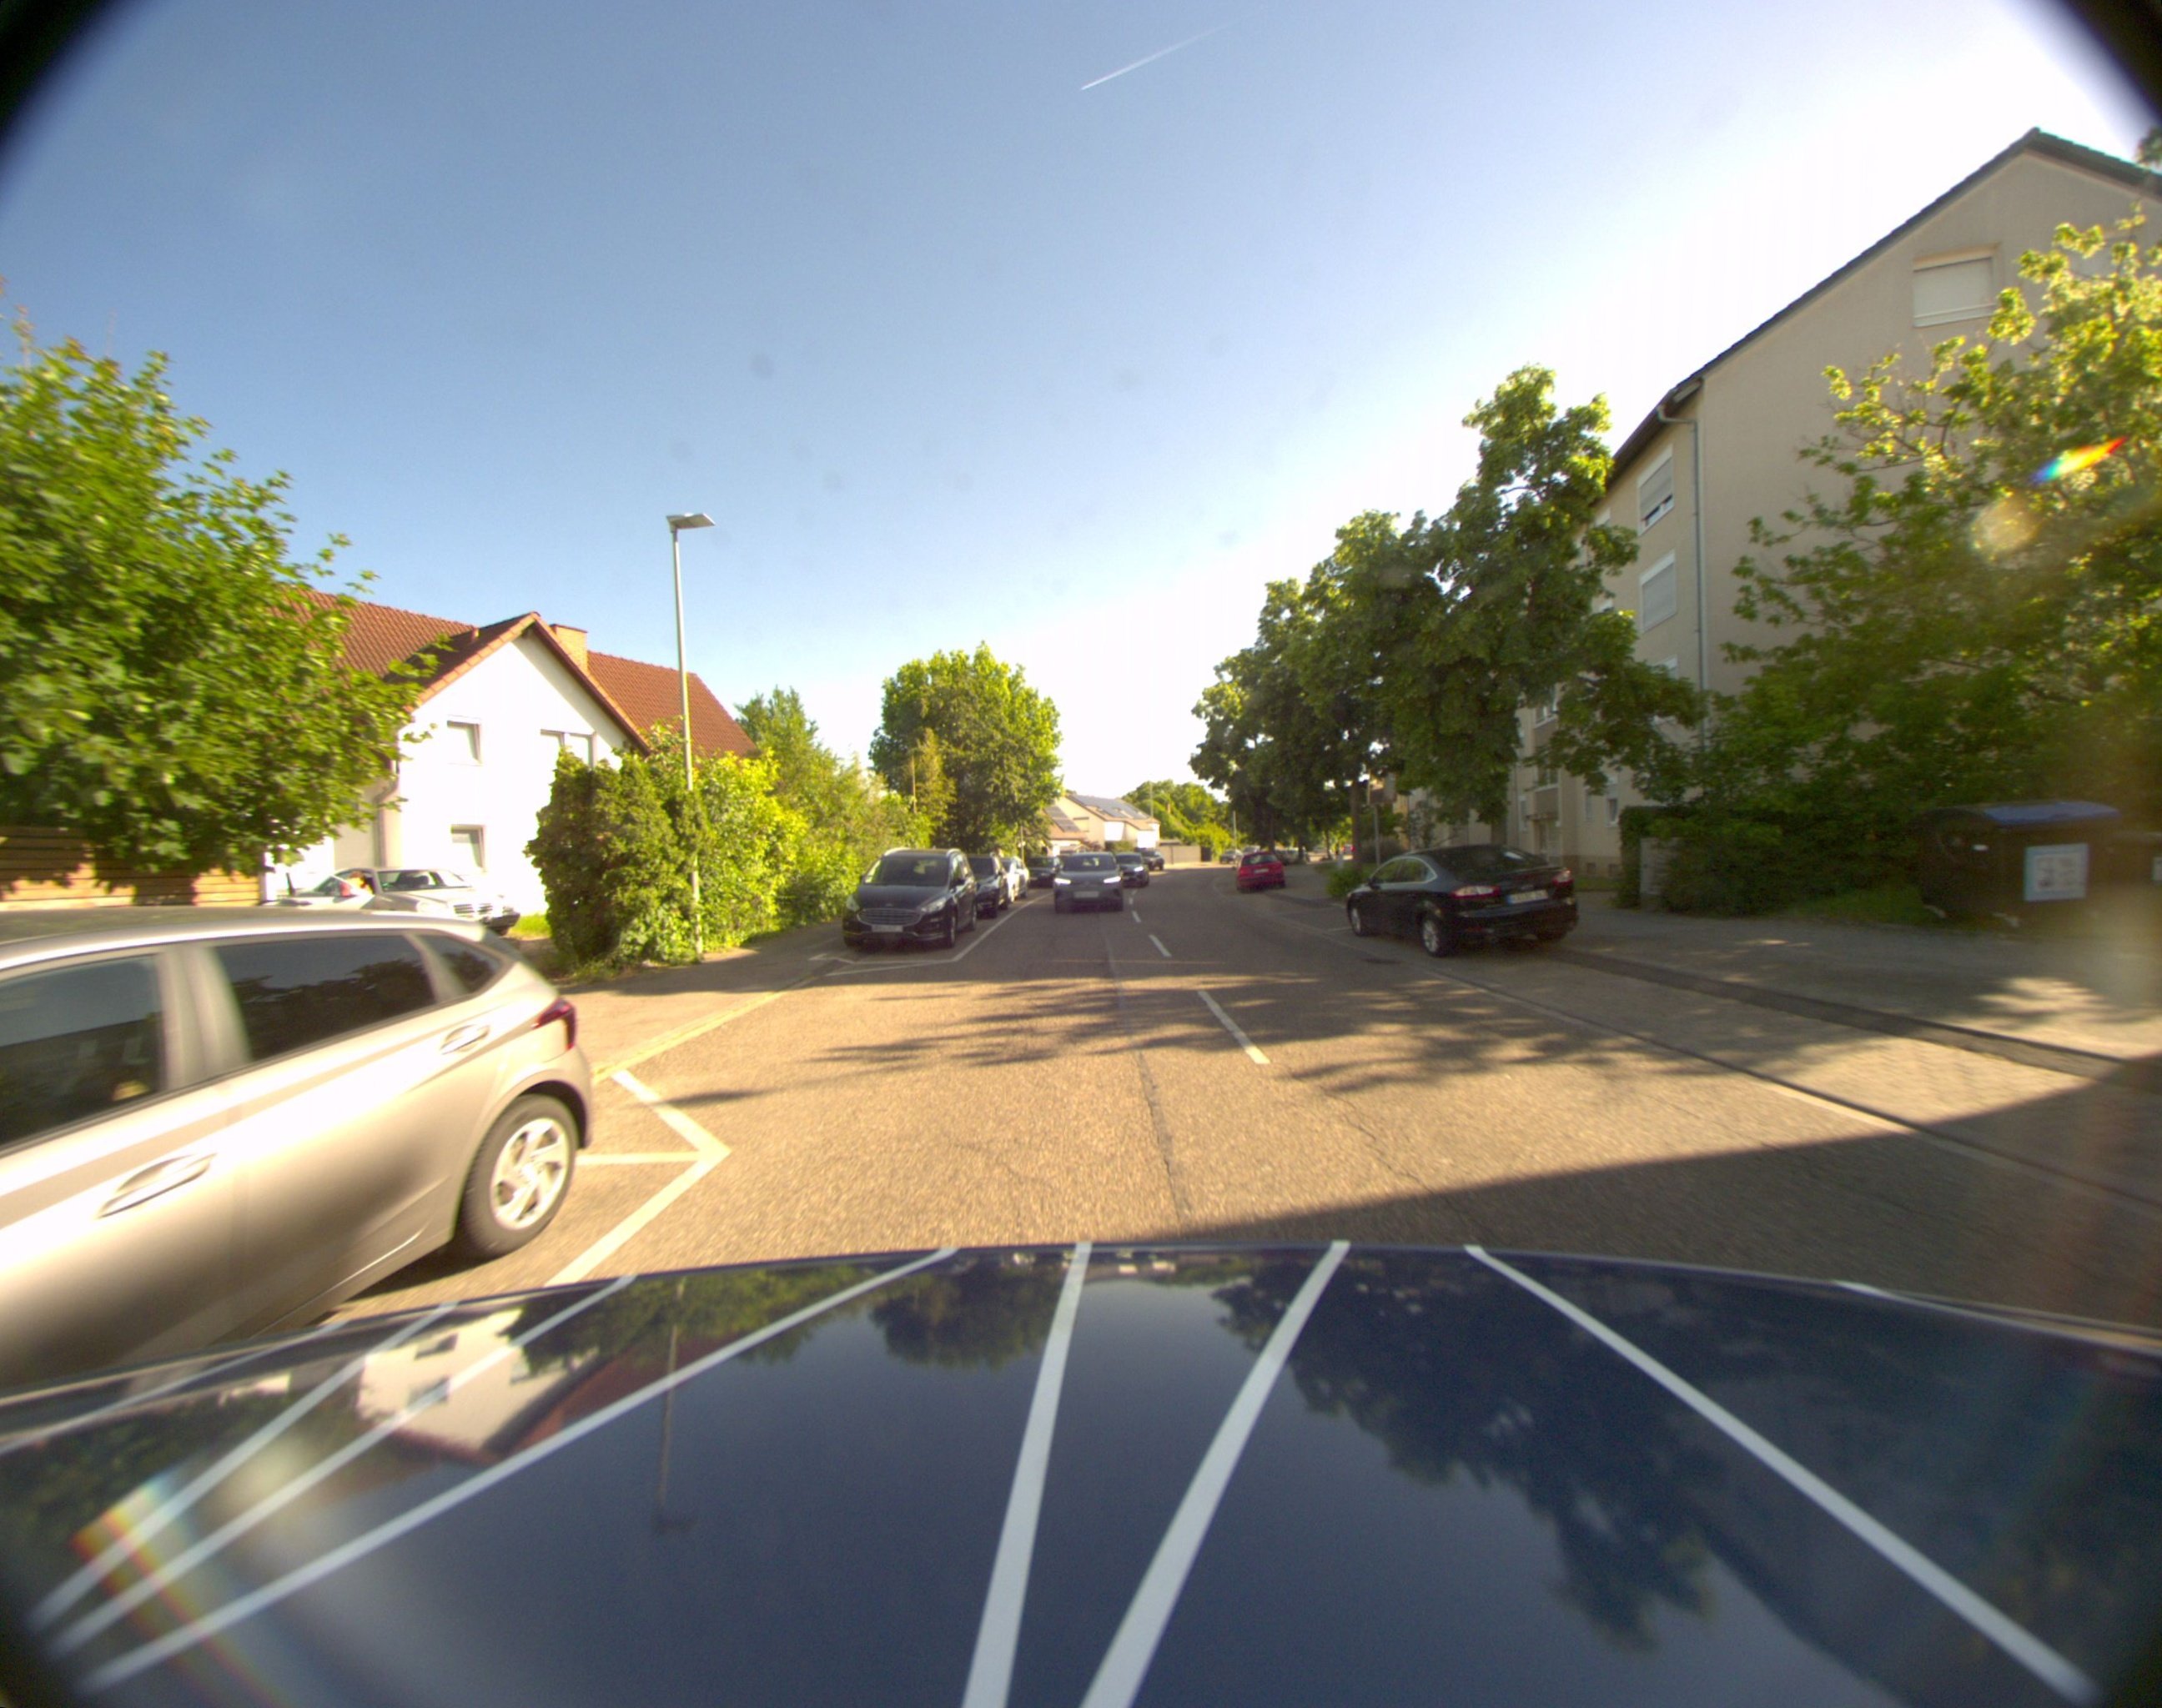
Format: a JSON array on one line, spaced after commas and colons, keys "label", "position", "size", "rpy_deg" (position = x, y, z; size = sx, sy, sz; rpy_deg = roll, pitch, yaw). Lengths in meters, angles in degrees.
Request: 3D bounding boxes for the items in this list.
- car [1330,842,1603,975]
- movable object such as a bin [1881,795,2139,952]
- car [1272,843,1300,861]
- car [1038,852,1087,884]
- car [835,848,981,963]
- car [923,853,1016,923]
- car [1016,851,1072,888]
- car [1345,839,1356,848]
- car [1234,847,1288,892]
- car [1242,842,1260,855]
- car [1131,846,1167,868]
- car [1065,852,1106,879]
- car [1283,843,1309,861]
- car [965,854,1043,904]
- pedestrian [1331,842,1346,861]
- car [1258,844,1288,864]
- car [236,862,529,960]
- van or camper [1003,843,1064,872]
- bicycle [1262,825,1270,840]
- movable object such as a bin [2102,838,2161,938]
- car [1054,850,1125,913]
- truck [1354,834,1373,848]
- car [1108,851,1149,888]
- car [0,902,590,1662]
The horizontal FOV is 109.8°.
[{"label": "car", "position": [5.610, 0.679, 11.846], "size": [1.726, 1.485, 4.542], "rpy_deg": [-7, 0, -1]}, {"label": "movable object such as a bin", "position": [10.668, 0.212, 8.813], "size": [1.416, 1.653, 1.267], "rpy_deg": [-2, 1, 2]}, {"label": "car", "position": [18.181, -0.144, 67.393], "size": [1.649, 1.530, 3.710], "rpy_deg": [-1, 0, 26]}, {"label": "car", "position": [-0.940, 0.711, 41.049], "size": [1.721, 1.565, 4.003], "rpy_deg": [1, 1, 12]}, {"label": "car", "position": [-3.049, 0.811, 14.333], "size": [1.747, 1.802, 4.429], "rpy_deg": [-1, 0, -1]}, {"label": "car", "position": [-2.916, 0.837, 20.793], "size": [1.767, 1.666, 4.394], "rpy_deg": [-1, 0, 1]}, {"label": "car", "position": [-1.671, 0.683, 35.740], "size": [1.656, 1.554, 4.467], "rpy_deg": [-1, 0, 9]}, {"label": "car", "position": [47.815, -1.880, 134.819], "size": [1.544, 1.456, 3.710], "rpy_deg": [-1, 0, 22]}, {"label": "car", "position": [6.991, 0.557, 29.774], "size": [1.660, 1.485, 3.911], "rpy_deg": [-5, 0, 9]}, {"label": "car", "position": [21.238, -0.641, 94.798], "size": [1.637, 1.569, 3.710], "rpy_deg": [-1, 0, 22]}, {"label": "car", "position": [5.464, 0.228, 60.859], "size": [1.774, 1.727, 3.710], "rpy_deg": [1, 1, 22]}, {"label": "car", "position": [0.318, 0.659, 46.287], "size": [1.635, 1.565, 3.707], "rpy_deg": [1, 1, 14]}, {"label": "car", "position": [20.056, -0.187, 70.881], "size": [1.649, 1.530, 3.710], "rpy_deg": [-1, 0, 26]}, {"label": "car", "position": [-2.617, 0.828, 26.894], "size": [1.766, 1.554, 4.664], "rpy_deg": [-1, 0, 6]}, {"label": "pedestrian", "position": [21.806, -0.201, 64.341], "size": [0.959, 1.619, 0.734], "rpy_deg": [-1, 1, 38]}, {"label": "car", "position": [15.949, 0.004, 62.957], "size": [1.649, 1.530, 3.710], "rpy_deg": [-1, 0, 26]}, {"label": "car", "position": [-13.494, 0.974, 14.673], "size": [5.082, 1.530, 2.525], "rpy_deg": [-1, 1, 27]}, {"label": "van or camper", "position": [-3.428, 0.225, 54.947], "size": [3.843, 2.002, 1.954], "rpy_deg": [-1, 1, 28]}, {"label": "bicycle", "position": [12.559, -1.450, 51.563], "size": [0.357, 1.001, 1.201], "rpy_deg": [-3, -1, 18]}, {"label": "movable object such as a bin", "position": [11.715, 0.363, 8.398], "size": [0.374, 1.068, 0.350], "rpy_deg": [-2, 1, 1]}, {"label": "car", "position": [0.327, 0.730, 21.690], "size": [1.777, 1.624, 3.705], "rpy_deg": [-1, 0, 4]}, {"label": "truck", "position": [49.316, -2.206, 132.450], "size": [2.408, 2.353, 4.534], "rpy_deg": [-1, 0, 30]}, {"label": "car", "position": [2.163, 0.686, 35.365], "size": [1.581, 1.569, 3.703], "rpy_deg": [-1, 0, -1]}, {"label": "car", "position": [-3.126, 0.984, 1.521], "size": [1.646, 1.485, 3.889], "rpy_deg": [-1, 0, 2]}]
